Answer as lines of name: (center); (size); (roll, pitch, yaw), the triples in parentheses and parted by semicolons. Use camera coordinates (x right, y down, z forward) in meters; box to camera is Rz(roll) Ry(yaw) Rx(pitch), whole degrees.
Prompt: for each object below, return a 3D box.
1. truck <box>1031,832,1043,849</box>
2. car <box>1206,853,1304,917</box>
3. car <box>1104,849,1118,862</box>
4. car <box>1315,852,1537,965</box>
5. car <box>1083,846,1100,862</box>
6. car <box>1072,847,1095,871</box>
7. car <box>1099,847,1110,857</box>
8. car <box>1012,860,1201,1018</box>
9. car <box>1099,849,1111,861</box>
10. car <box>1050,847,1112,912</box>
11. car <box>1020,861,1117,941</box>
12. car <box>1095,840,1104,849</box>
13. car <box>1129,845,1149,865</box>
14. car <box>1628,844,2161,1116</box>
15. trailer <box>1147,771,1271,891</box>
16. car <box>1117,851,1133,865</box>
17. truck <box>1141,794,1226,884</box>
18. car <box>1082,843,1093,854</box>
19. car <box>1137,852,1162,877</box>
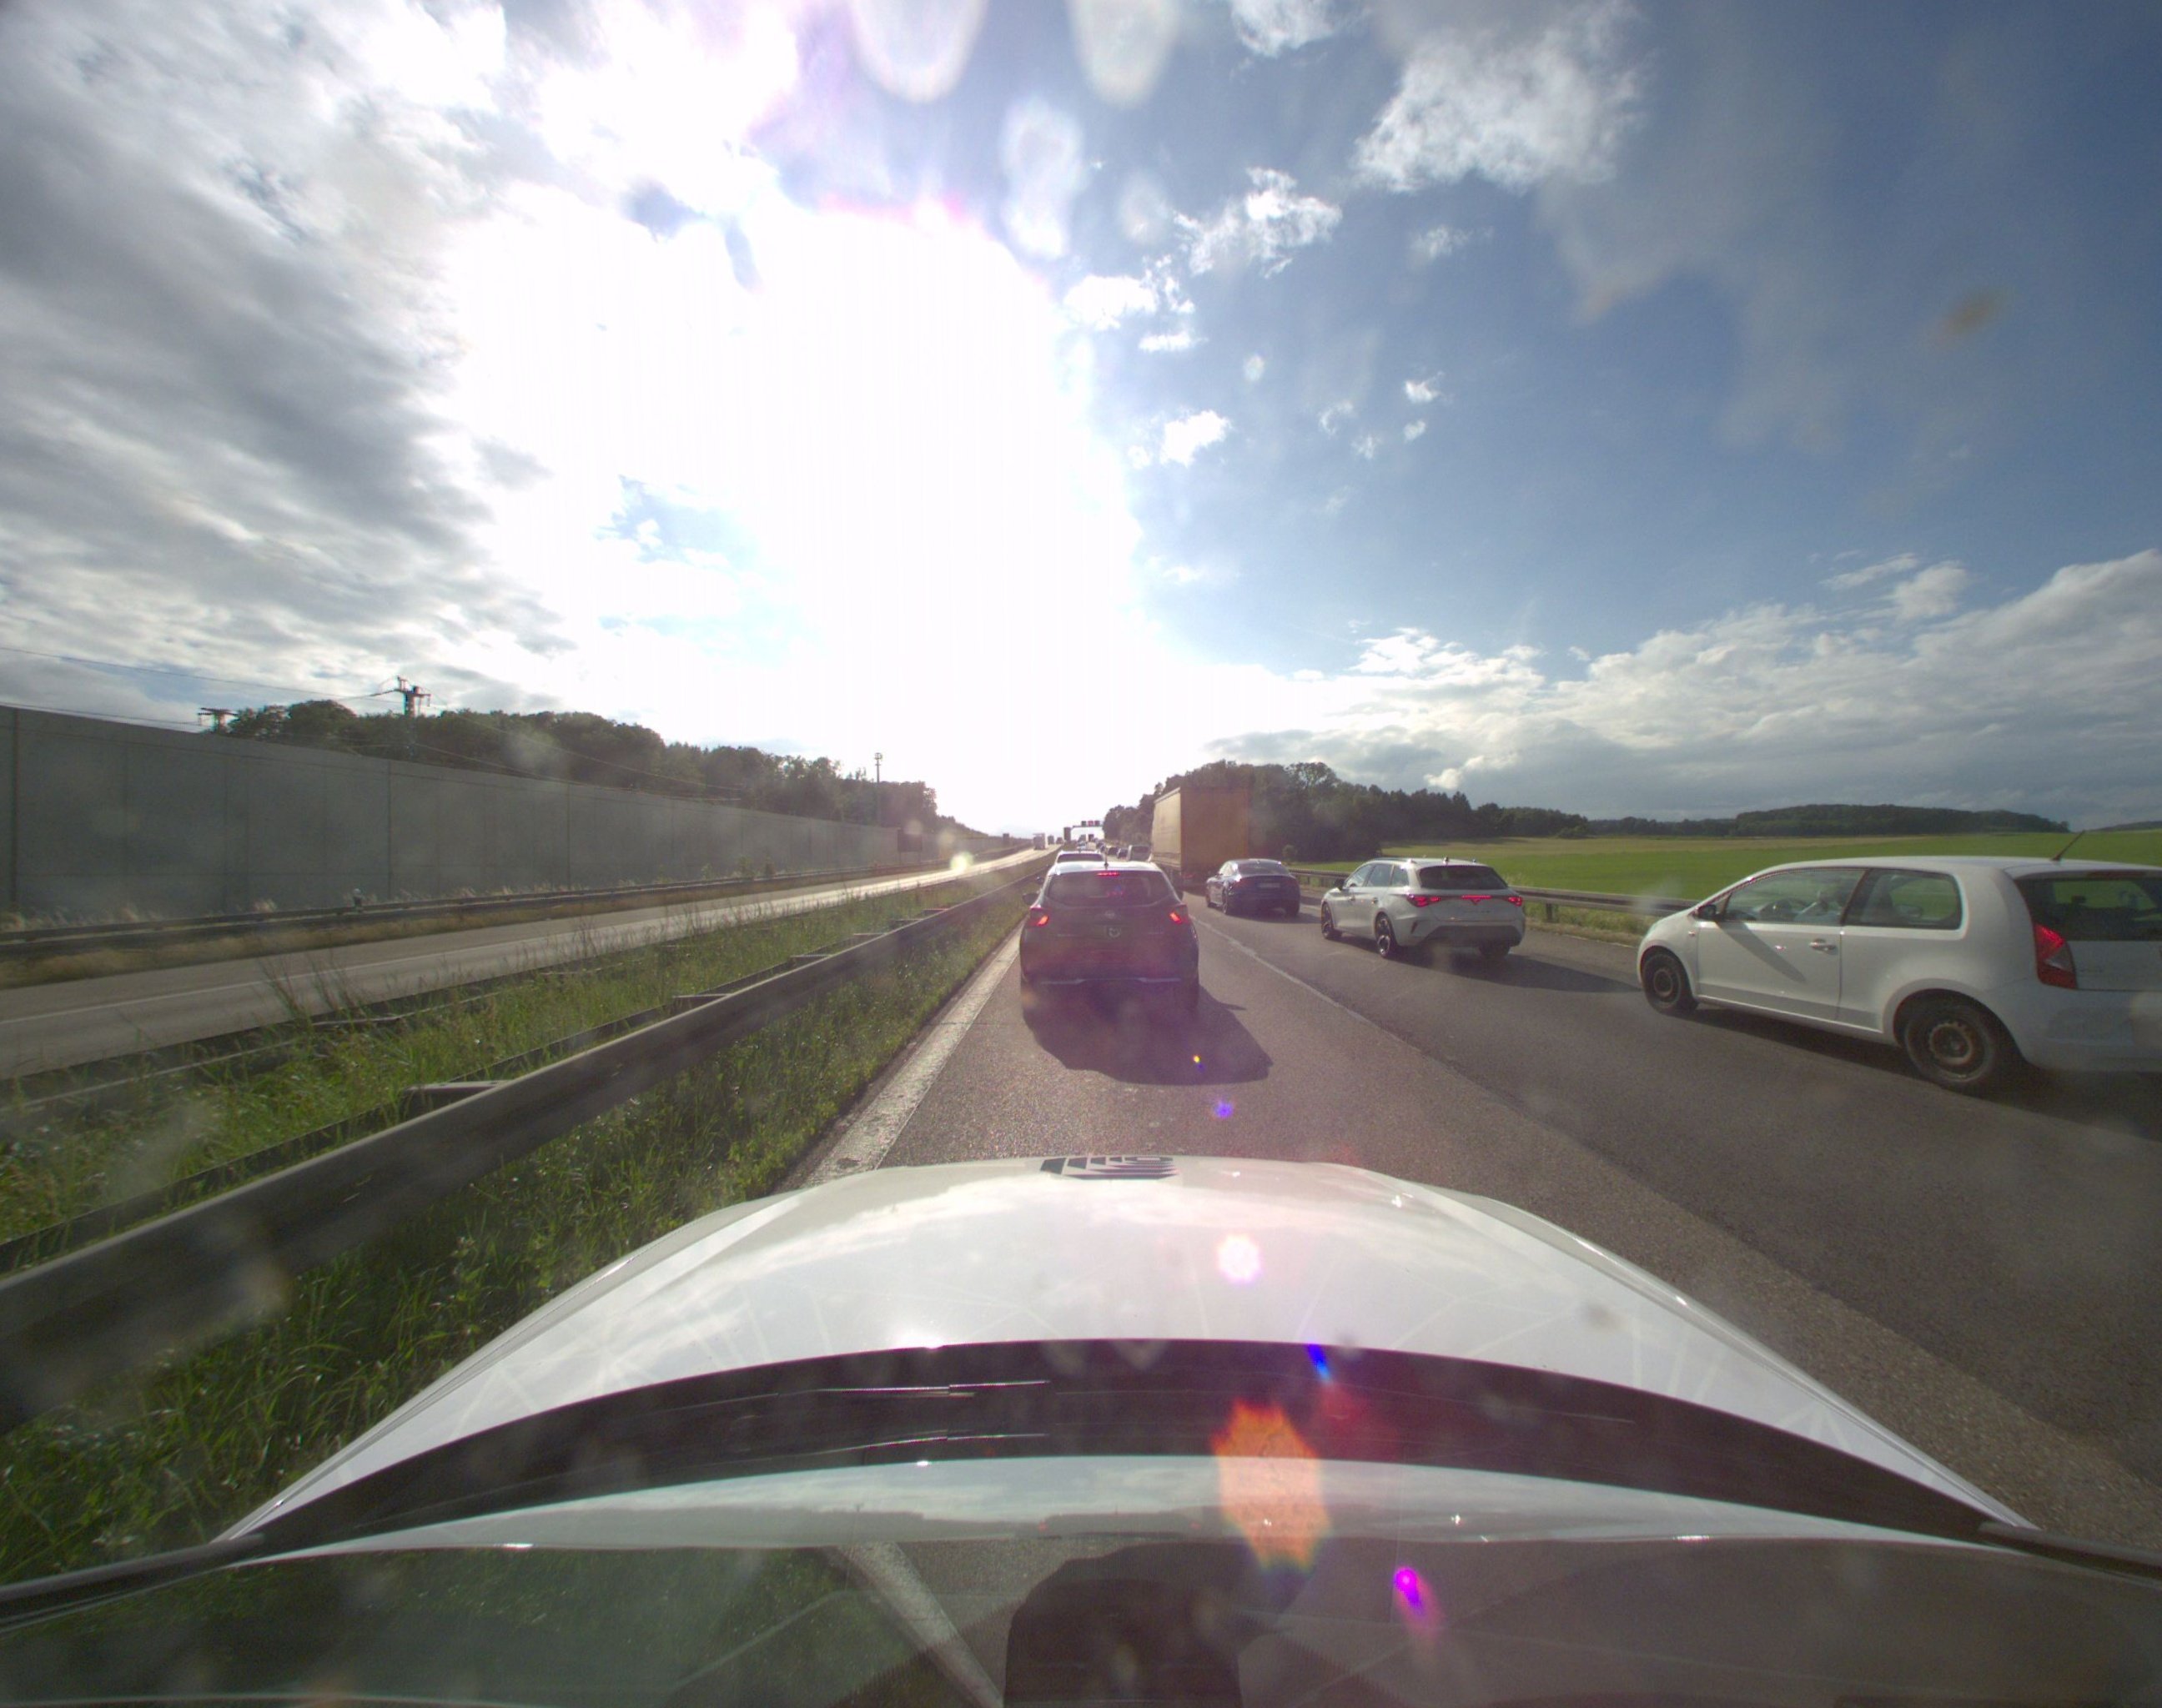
truck: (-10.918, -3.271, 204.548); (2.629, 4.098, 7.000); (0, -1, 0)
car: (4.401, 0.749, 21.218); (1.741, 1.475, 4.147); (-1, -1, 1)
car: (4.857, 0.256, 132.114); (1.987, 2.014, 3.998); (0, -1, -1)
car: (5.077, 0.729, 12.636); (1.616, 1.445, 4.144); (0, -1, -1)
car: (1.304, 0.007, 102.694); (1.987, 2.014, 3.998); (0, -1, -1)
car: (0.201, 0.455, 70.642); (1.987, 2.014, 3.998); (0, -1, -1)
car: (4.434, -0.382, 155.850); (1.987, 2.014, 3.998); (0, -1, -1)
car: (0.285, 0.793, 9.113); (1.703, 1.426, 3.379); (-1, -1, 2)
car: (4.204, 0.212, 141.427); (1.987, 2.014, 3.998); (0, -1, -1)
car: (0.039, 0.687, 23.620); (1.668, 1.726, 3.597); (-1, -1, 1)
car: (-0.178, 0.833, 15.902); (1.668, 1.367, 3.597); (-1, -1, 1)
car: (4.173, -2.091, 186.167); (1.987, 2.014, 3.998); (0, -1, -1)
car: (5.155, 0.080, 73.278); (1.661, 1.755, 3.328); (0, -1, 2)
car: (6.106, 0.686, 6.228); (1.544, 1.495, 3.376); (0, 0, -1)
trailer: (5.295, -0.817, 36.697); (3.538, 4.457, 12.718); (0, -1, 0)
car: (6.156, 0.553, 113.772); (1.987, 2.014, 3.998); (0, -1, -1)
truck: (5.248, -0.712, 43.124); (3.571, 4.380, 6.686); (0, -1, -1)
car: (1.107, -0.948, 145.580); (1.987, 2.014, 3.998); (0, -1, -1)
car: (4.973, 0.739, 59.404); (1.661, 1.755, 3.328); (0, -1, 2)
